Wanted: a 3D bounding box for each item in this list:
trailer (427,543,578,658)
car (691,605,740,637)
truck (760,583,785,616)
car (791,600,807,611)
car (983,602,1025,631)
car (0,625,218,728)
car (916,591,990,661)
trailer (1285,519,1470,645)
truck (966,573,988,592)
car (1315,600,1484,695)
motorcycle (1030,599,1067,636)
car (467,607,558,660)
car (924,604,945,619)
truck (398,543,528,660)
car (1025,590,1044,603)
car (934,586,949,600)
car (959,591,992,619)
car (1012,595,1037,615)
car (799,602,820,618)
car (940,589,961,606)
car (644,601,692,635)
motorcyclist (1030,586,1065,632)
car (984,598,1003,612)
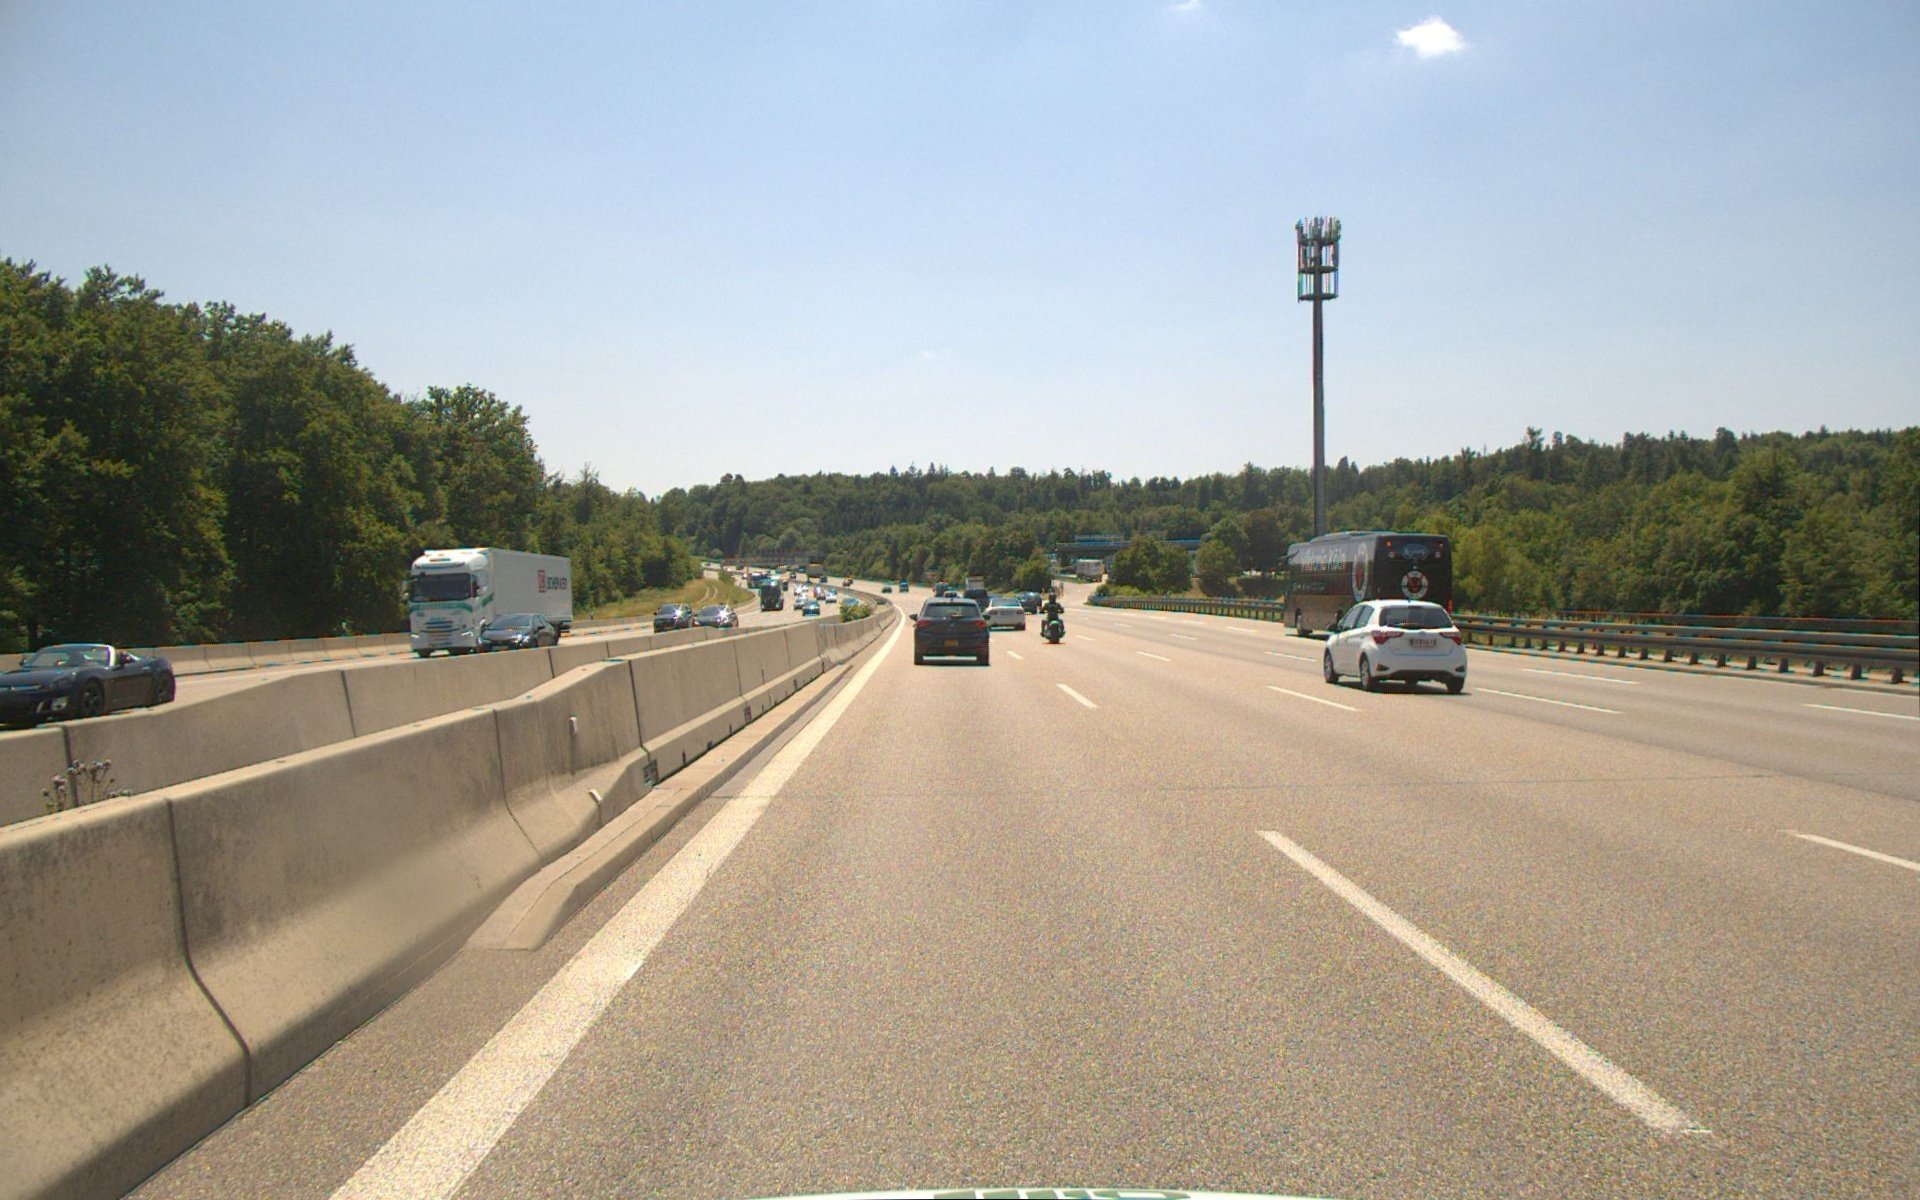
[{"bbox_3d":[-19.292,-0.005,70.999,2.589,4.298,14.358,-3,0,-1],"label":"trailer"},{"bbox_3d":[-11.994,1.011,81.316,1.761,1.507,4.719,1,0,-1],"label":"car"},{"bbox_3d":[-24.627,-0.090,217.535,2.605,4.095,5.508,-3,0,-2],"label":"truck"},{"bbox_3d":[-20.924,0.728,215.144,1.795,1.324,4.727,-1,0,-3],"label":"car"},{"bbox_3d":[1.992,0.740,75.765,1.746,1.287,3.459,-1,0,-1],"label":"car"},{"bbox_3d":[-14.006,1.188,27.032,1.761,1.400,4.530,-2,0,-1],"label":"car"},{"bbox_3d":[-0.160,0.625,37.379,1.591,1.513,3.684,0,-2,-1],"label":"car"},{"bbox_3d":[13.961,-0.533,56.864,2.799,3.752,13.541,-1,0,0],"label":"trailer"},{"bbox_3d":[2.499,-2.615,247.344,2.673,2.835,5.677,0,1,-5],"label":"truck"},{"bbox_3d":[7.535,0.765,28.791,1.632,1.458,4.374,2,0,-2],"label":"car"},{"bbox_3d":[2.936,0.572,55.194,0.958,1.149,2.269,-2,0,-4],"label":"motorcycle"},{"bbox_3d":[-14.309,1.030,53.142,1.761,1.506,4.396,-2,0,-1],"label":"car"},{"bbox_3d":[-2.100,0.935,136.532,1.506,1.233,3.457,-1,0,-4],"label":"car"},{"bbox_3d":[-19.257,0.035,64.627,2.660,4.171,7.875,-3,0,-1],"label":"truck"},{"bbox_3d":[7.349,-0.347,162.664,1.576,1.233,3.458,-1,0,-2],"label":"car"},{"bbox_3d":[-2.899,-1.080,257.911,1.955,2.048,4.670,0,1,-5],"label":"car"},{"bbox_3d":[1.091,0.344,118.242,2.055,1.884,4.078,-1,0,-4],"label":"car"},{"bbox_3d":[4.731,0.335,121.360,1.641,1.457,3.684,-1,0,-1],"label":"car"},{"bbox_3d":[-15.014,0.997,165.454,1.731,1.504,4.480,-2,0,-1],"label":"car"},{"bbox_3d":[-1.030,-0.236,177.492,1.955,1.713,4.419,0,1,-5],"label":"car"},{"bbox_3d":[-16.049,0.966,91.085,1.762,1.671,5.078,-4,0,-1],"label":"car"},{"bbox_3d":[2.924,0.292,55.176,0.943,1.462,1.233,-2,1,-5],"label":"motorcyclist"},{"bbox_3d":[3.113,0.460,155.417,1.576,1.233,3.458,-1,0,-2],"label":"car"}]
